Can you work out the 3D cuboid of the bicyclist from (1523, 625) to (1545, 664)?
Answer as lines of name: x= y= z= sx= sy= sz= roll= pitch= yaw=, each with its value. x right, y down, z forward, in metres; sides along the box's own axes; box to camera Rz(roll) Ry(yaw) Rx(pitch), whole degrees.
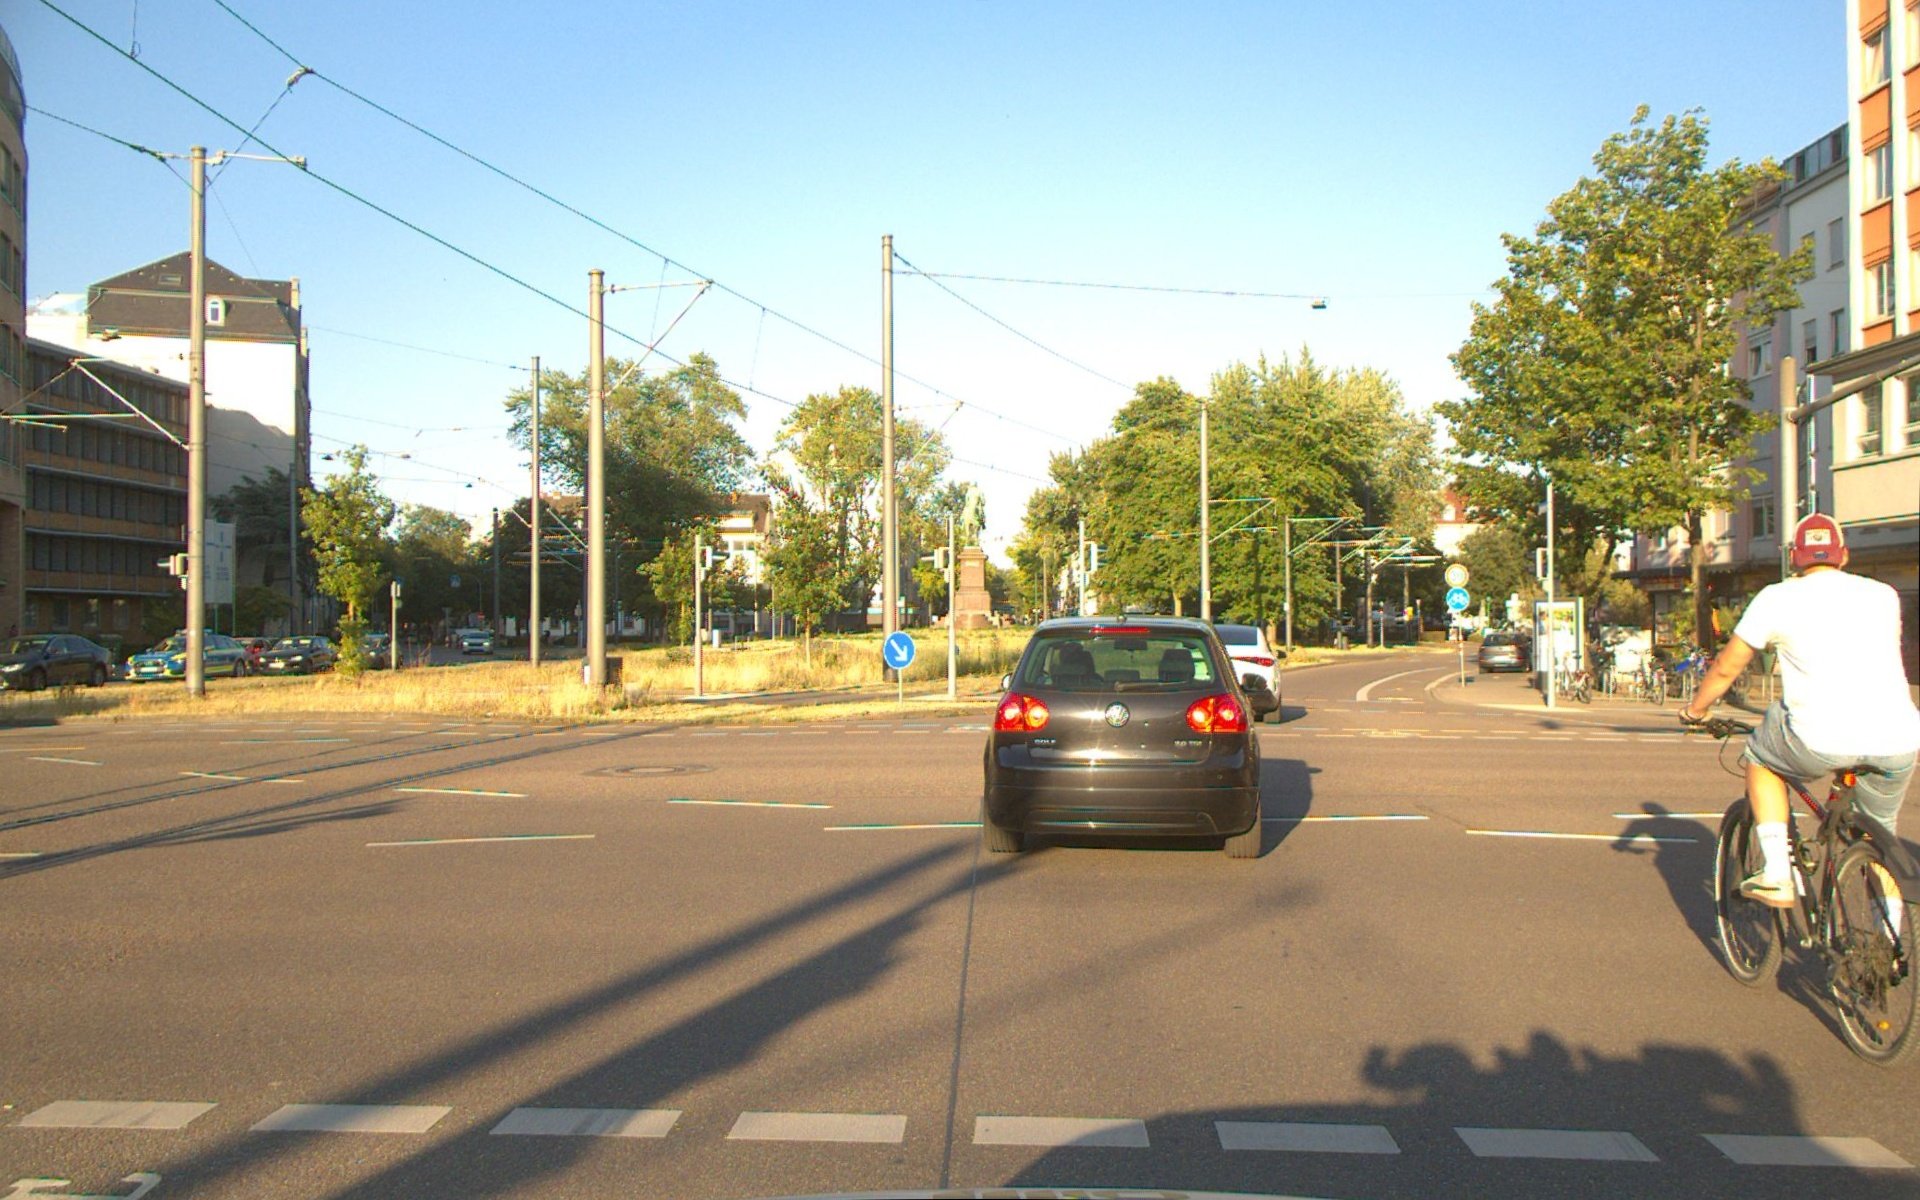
bicyclist: x=24.789 y=1.928 z=71.402 sx=0.761 sy=1.647 sz=1.024 roll=1 pitch=-1 yaw=25

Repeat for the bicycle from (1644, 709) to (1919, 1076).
bicycle: x=3.111 y=0.986 z=6.196 sx=0.468 sy=1.046 sz=1.982 roll=0 pitch=-1 yaw=6

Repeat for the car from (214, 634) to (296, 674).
car: x=-27.116 y=2.061 z=63.741 sx=1.690 sy=1.439 sz=3.884 roll=0 pitch=-1 yaw=-3

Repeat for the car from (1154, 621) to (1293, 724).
car: x=4.198 y=1.069 z=25.850 sx=1.825 sy=1.466 sz=4.200 roll=0 pitch=-1 yaw=14

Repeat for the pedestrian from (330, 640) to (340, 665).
pedestrian: x=-36.701 y=3.093 z=97.174 sx=0.405 sy=1.455 sz=0.485 roll=0 pitch=-1 yaw=2

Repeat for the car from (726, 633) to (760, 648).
car: x=-22.497 y=4.184 z=171.603 sx=3.271 sy=1.534 sz=1.658 roll=0 pitch=-1 yaw=-2

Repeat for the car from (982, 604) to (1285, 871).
car: x=1.286 y=0.797 z=11.430 sx=1.710 sy=1.486 sz=4.106 roll=0 pitch=-1 yaw=9

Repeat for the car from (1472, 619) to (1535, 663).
car: x=19.698 y=1.466 z=59.877 sx=1.693 sy=1.498 sz=3.896 roll=-3 pitch=-2 yaw=24

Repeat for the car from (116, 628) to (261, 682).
car: x=-23.247 y=1.625 z=50.061 sx=1.849 sy=1.506 sz=4.784 roll=0 pitch=-1 yaw=4

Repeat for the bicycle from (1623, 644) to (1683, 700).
bicycle: x=15.283 y=1.580 z=36.519 sx=0.631 sy=1.146 sz=1.875 roll=0 pitch=0 yaw=3

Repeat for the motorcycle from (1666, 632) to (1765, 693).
motorcycle: x=18.031 y=1.476 z=39.504 sx=2.000 sy=1.431 sz=0.761 roll=0 pitch=-1 yaw=10

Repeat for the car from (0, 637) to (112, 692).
car: x=-23.423 y=1.615 z=42.039 sx=1.689 sy=1.305 sz=3.789 roll=0 pitch=-1 yaw=2

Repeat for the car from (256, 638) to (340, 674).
car: x=-23.092 y=1.930 z=57.809 sx=1.489 sy=1.174 sz=3.598 roll=0 pitch=-1 yaw=0

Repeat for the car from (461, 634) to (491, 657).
car: x=-34.007 y=3.164 z=116.184 sx=1.740 sy=1.508 sz=4.295 roll=0 pitch=-1 yaw=-13

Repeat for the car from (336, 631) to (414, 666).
car: x=-22.875 y=1.878 z=64.759 sx=1.612 sy=1.304 sz=3.741 roll=0 pitch=-1 yaw=2

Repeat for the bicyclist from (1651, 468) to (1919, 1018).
bicyclist: x=3.133 y=0.483 z=6.076 sx=0.809 sy=1.839 sz=1.058 roll=0 pitch=-1 yaw=6

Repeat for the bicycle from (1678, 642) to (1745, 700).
bicycle: x=16.544 y=1.554 z=36.466 sx=0.631 sy=1.178 sz=2.125 roll=0 pitch=0 yaw=3

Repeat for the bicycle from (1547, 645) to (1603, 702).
bicycle: x=13.535 y=1.603 z=36.435 sx=0.631 sy=1.146 sz=1.875 roll=0 pitch=0 yaw=3

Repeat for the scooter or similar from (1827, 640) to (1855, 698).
scooter or similar: x=20.098 y=1.561 z=37.747 sx=0.406 sy=1.276 sz=1.183 roll=0 pitch=-1 yaw=21
